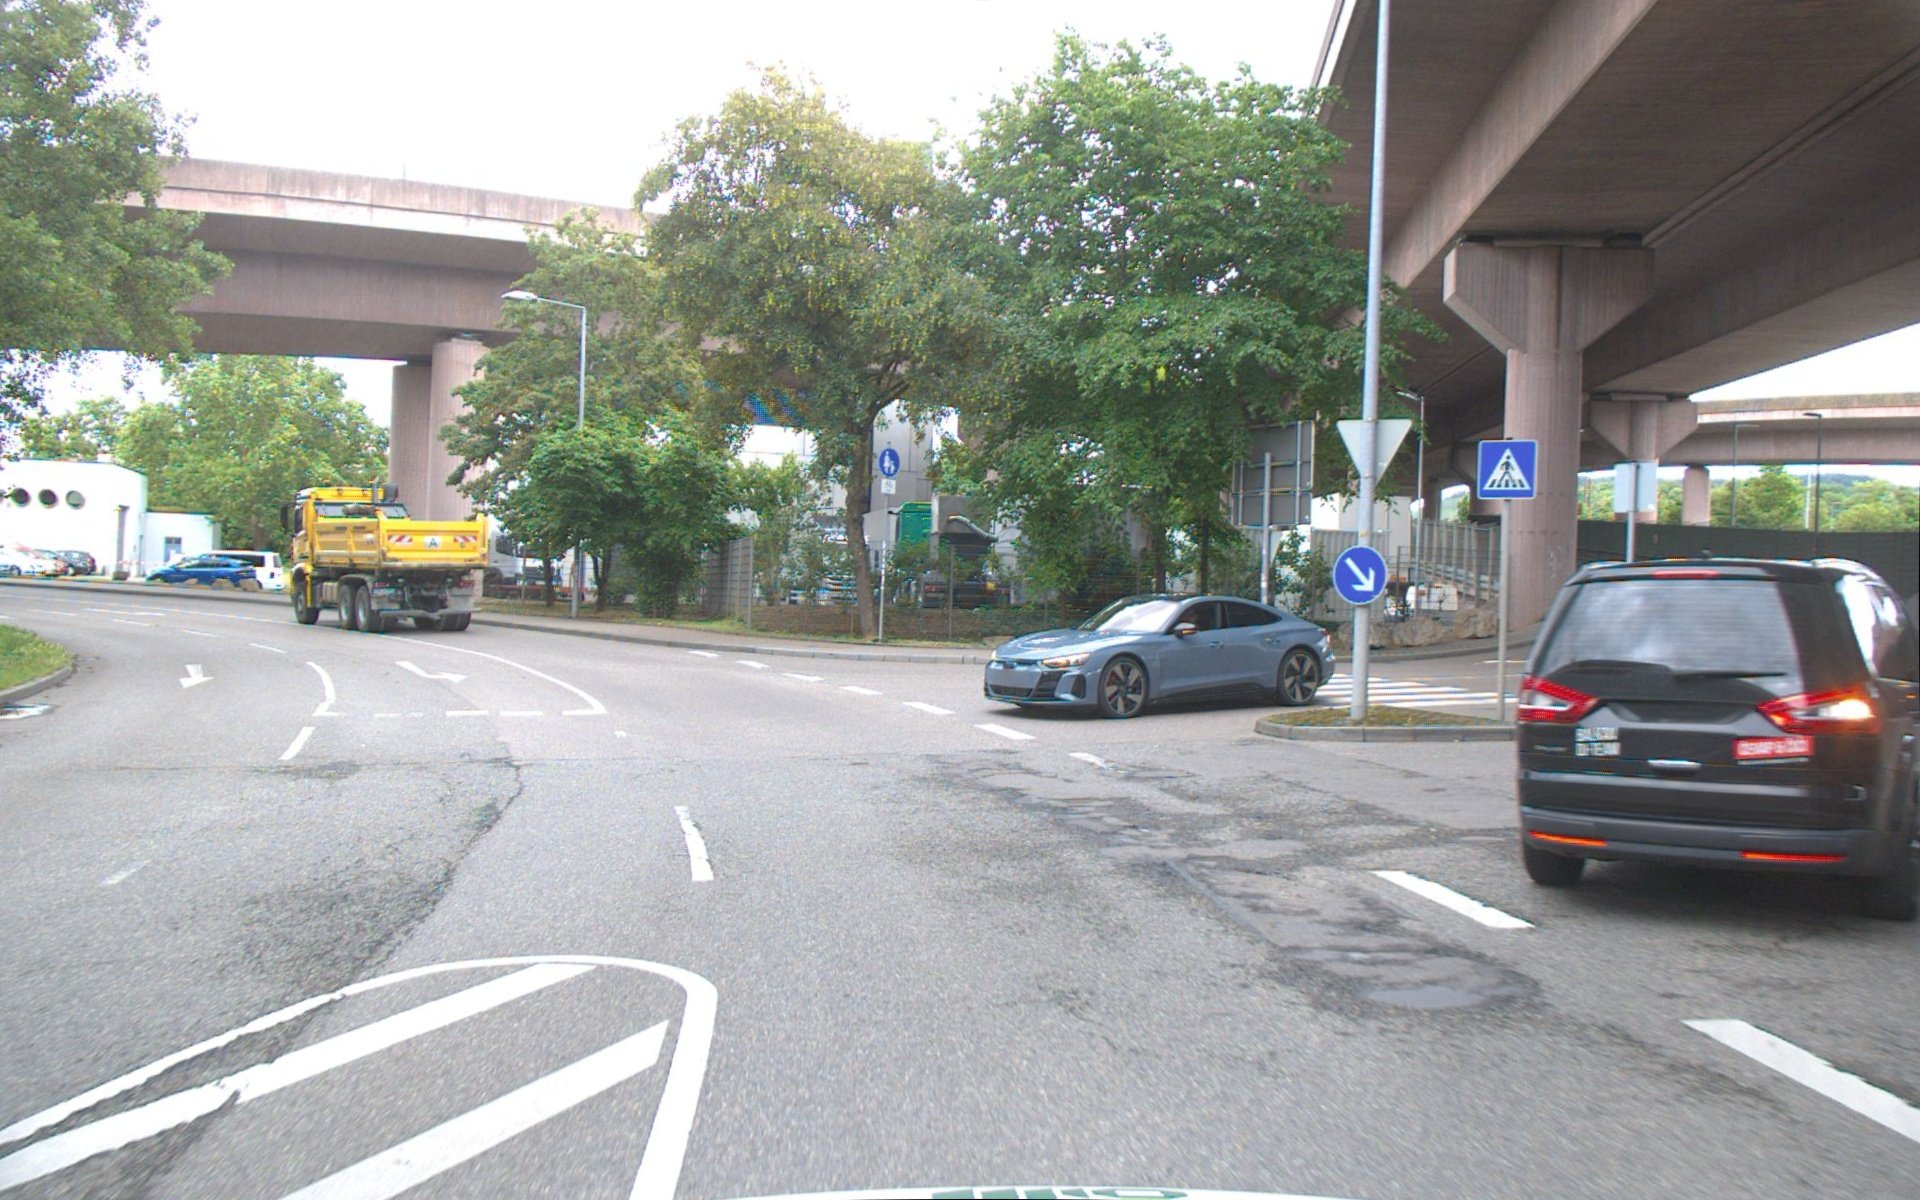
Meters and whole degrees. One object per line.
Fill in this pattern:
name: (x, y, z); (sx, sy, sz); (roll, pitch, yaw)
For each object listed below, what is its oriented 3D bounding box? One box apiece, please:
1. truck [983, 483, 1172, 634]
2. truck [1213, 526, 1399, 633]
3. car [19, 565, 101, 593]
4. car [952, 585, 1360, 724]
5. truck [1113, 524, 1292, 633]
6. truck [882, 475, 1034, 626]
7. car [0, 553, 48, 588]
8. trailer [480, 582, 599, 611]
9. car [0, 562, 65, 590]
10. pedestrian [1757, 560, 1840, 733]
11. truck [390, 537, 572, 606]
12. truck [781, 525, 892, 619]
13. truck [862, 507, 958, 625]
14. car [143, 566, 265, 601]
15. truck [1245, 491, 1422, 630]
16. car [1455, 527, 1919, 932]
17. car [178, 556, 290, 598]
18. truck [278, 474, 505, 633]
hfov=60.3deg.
truck: (3.172, -1.207, 47.386); (3.014, 3.935, 8.019); (0, 2, -14)
truck: (10.184, -0.669, 49.429); (2.866, 2.949, 6.534); (0, 2, -14)
car: (-54.002, -1.234, 99.298); (3.921, 1.574, 1.848); (0, -2, -15)
car: (2.488, 0.612, 20.453); (4.876, 1.528, 2.146); (1, 0, -36)
truck: (6.953, -0.680, 48.458); (2.866, 2.949, 6.534); (0, 2, -14)
truck: (-0.208, -1.392, 47.962); (3.012, 4.032, 6.902); (0, 1, -12)
car: (-47.625, -1.446, 81.957); (3.924, 1.669, 1.990); (0, -1, -17)
trailer: (-14.761, -0.147, 57.807); (2.130, 0.756, 6.222); (-3, 3, -33)
car: (-50.433, -1.269, 88.676); (3.922, 1.431, 1.991); (0, 0, -16)
pedestrian: (8.406, 0.456, 16.590); (0.526, 1.705, 0.557); (0, 1, -5)
truck: (-18.829, -1.131, 64.879); (7.073, 2.596, 2.720); (1, 0, 30)
truck: (-5.266, -1.227, 69.057); (3.006, 3.682, 7.881); (1, 2, -16)
truck: (-2.317, -1.519, 72.572); (3.144, 4.863, 8.031); (0, 2, -9)
car: (-32.786, -0.703, 71.849); (4.357, 1.467, 1.998); (0, 0, -5)
truck: (12.541, -1.360, 56.420); (3.010, 4.374, 8.030); (0, 2, -10)
car: (4.545, 0.562, 9.414); (1.960, 1.709, 4.543); (0, -1, 36)
car: (-33.040, -1.029, 75.350); (4.231, 1.889, 1.997); (0, -1, -6)
truck: (-14.215, -1.169, 40.882); (2.906, 3.542, 8.135); (-1, 2, -37)
